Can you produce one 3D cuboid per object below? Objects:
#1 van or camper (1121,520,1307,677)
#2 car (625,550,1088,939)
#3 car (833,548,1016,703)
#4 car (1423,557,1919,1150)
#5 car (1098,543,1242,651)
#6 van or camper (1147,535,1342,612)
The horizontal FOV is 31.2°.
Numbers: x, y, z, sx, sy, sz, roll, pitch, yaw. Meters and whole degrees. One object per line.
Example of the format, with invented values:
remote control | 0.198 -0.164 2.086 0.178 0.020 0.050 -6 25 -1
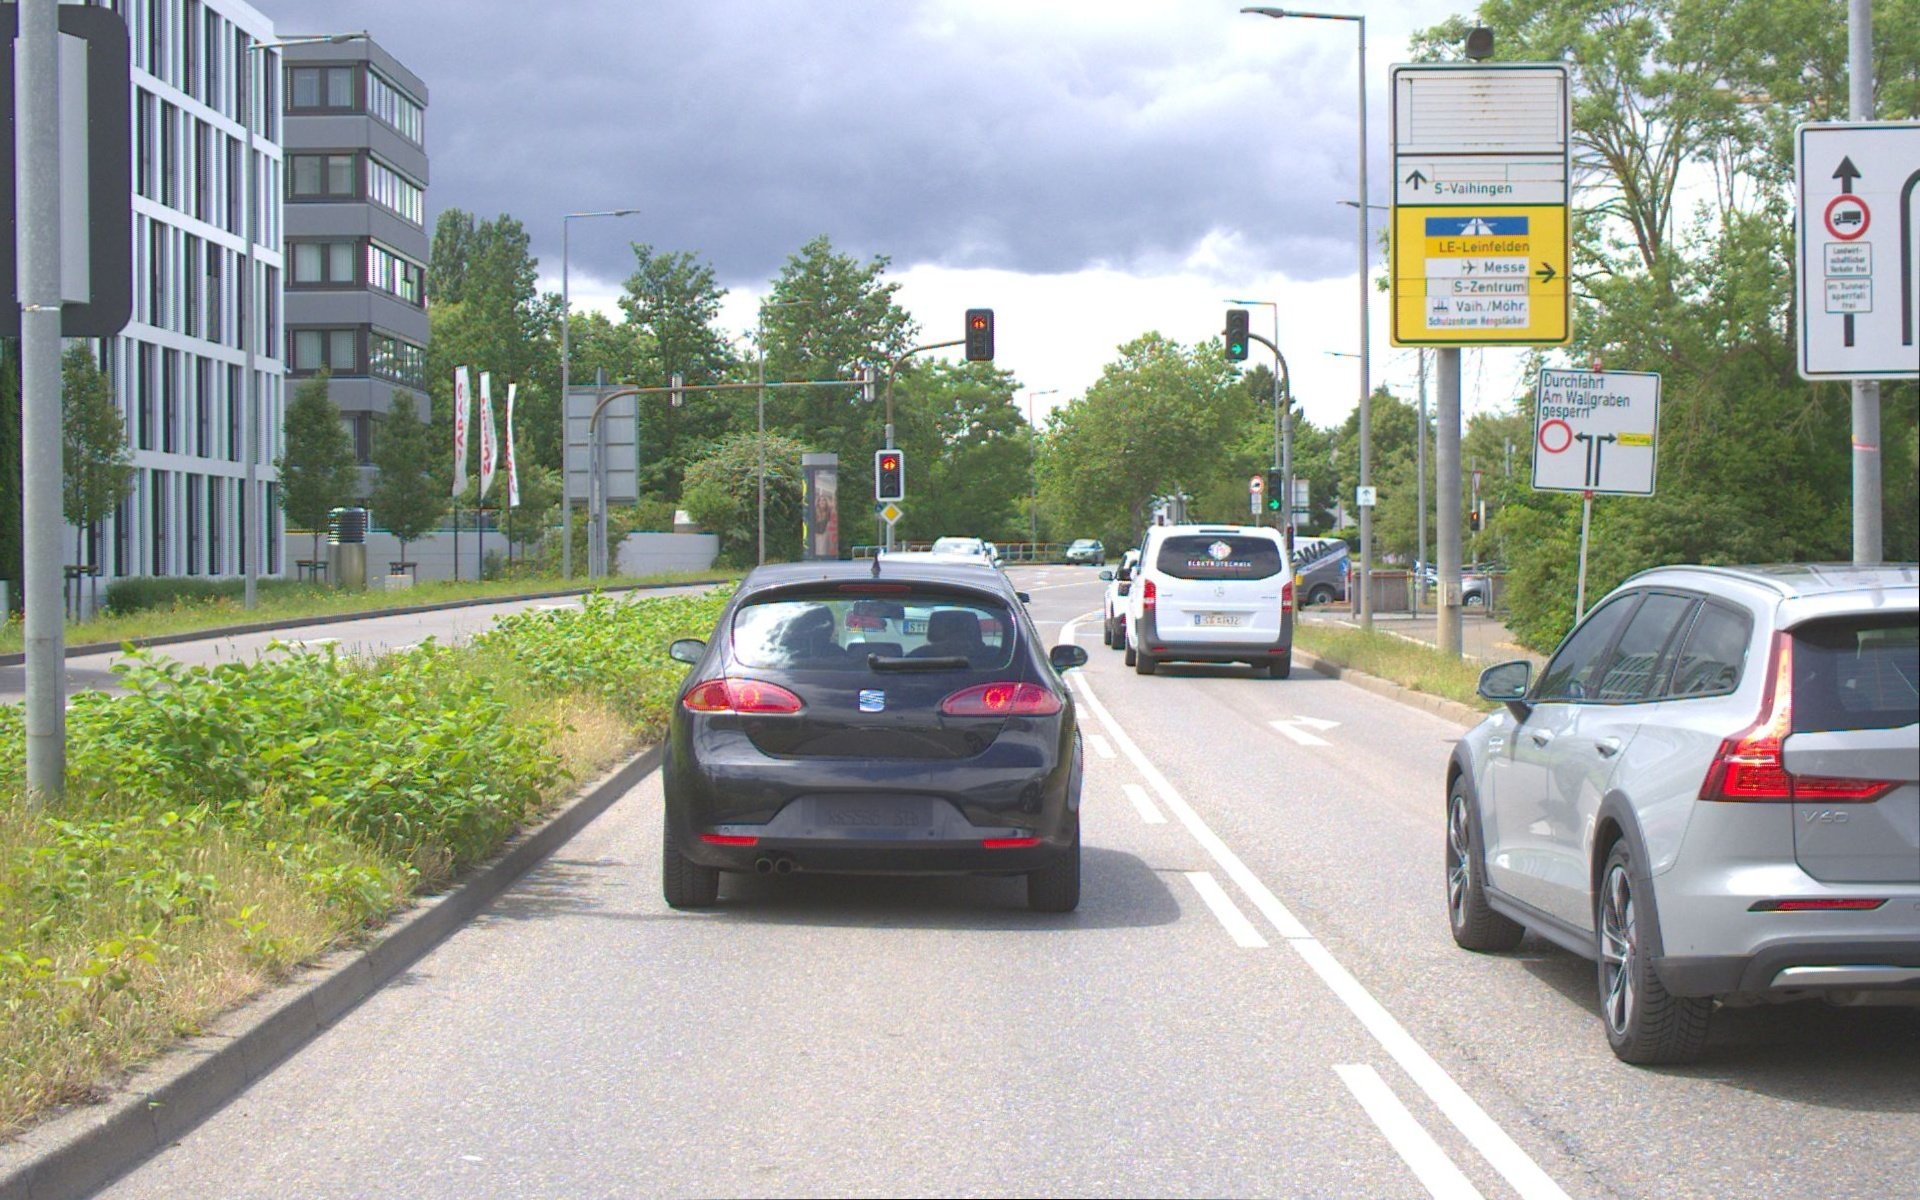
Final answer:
van or camper | 3.125 -0.058 43.251 1.993 1.853 4.944 0 1 0
car | -0.348 0.536 15.178 1.773 1.447 3.582 1 1 2
car | -0.354 0.219 35.147 1.773 1.486 3.582 0 1 0
car | 2.791 0.636 11.227 1.863 1.513 4.447 0 1 -1
car | 3.266 -0.075 54.182 1.993 1.626 4.000 0 1 0
van or camper | 7.500 -0.709 90.818 4.799 2.007 2.001 0 1 -9
